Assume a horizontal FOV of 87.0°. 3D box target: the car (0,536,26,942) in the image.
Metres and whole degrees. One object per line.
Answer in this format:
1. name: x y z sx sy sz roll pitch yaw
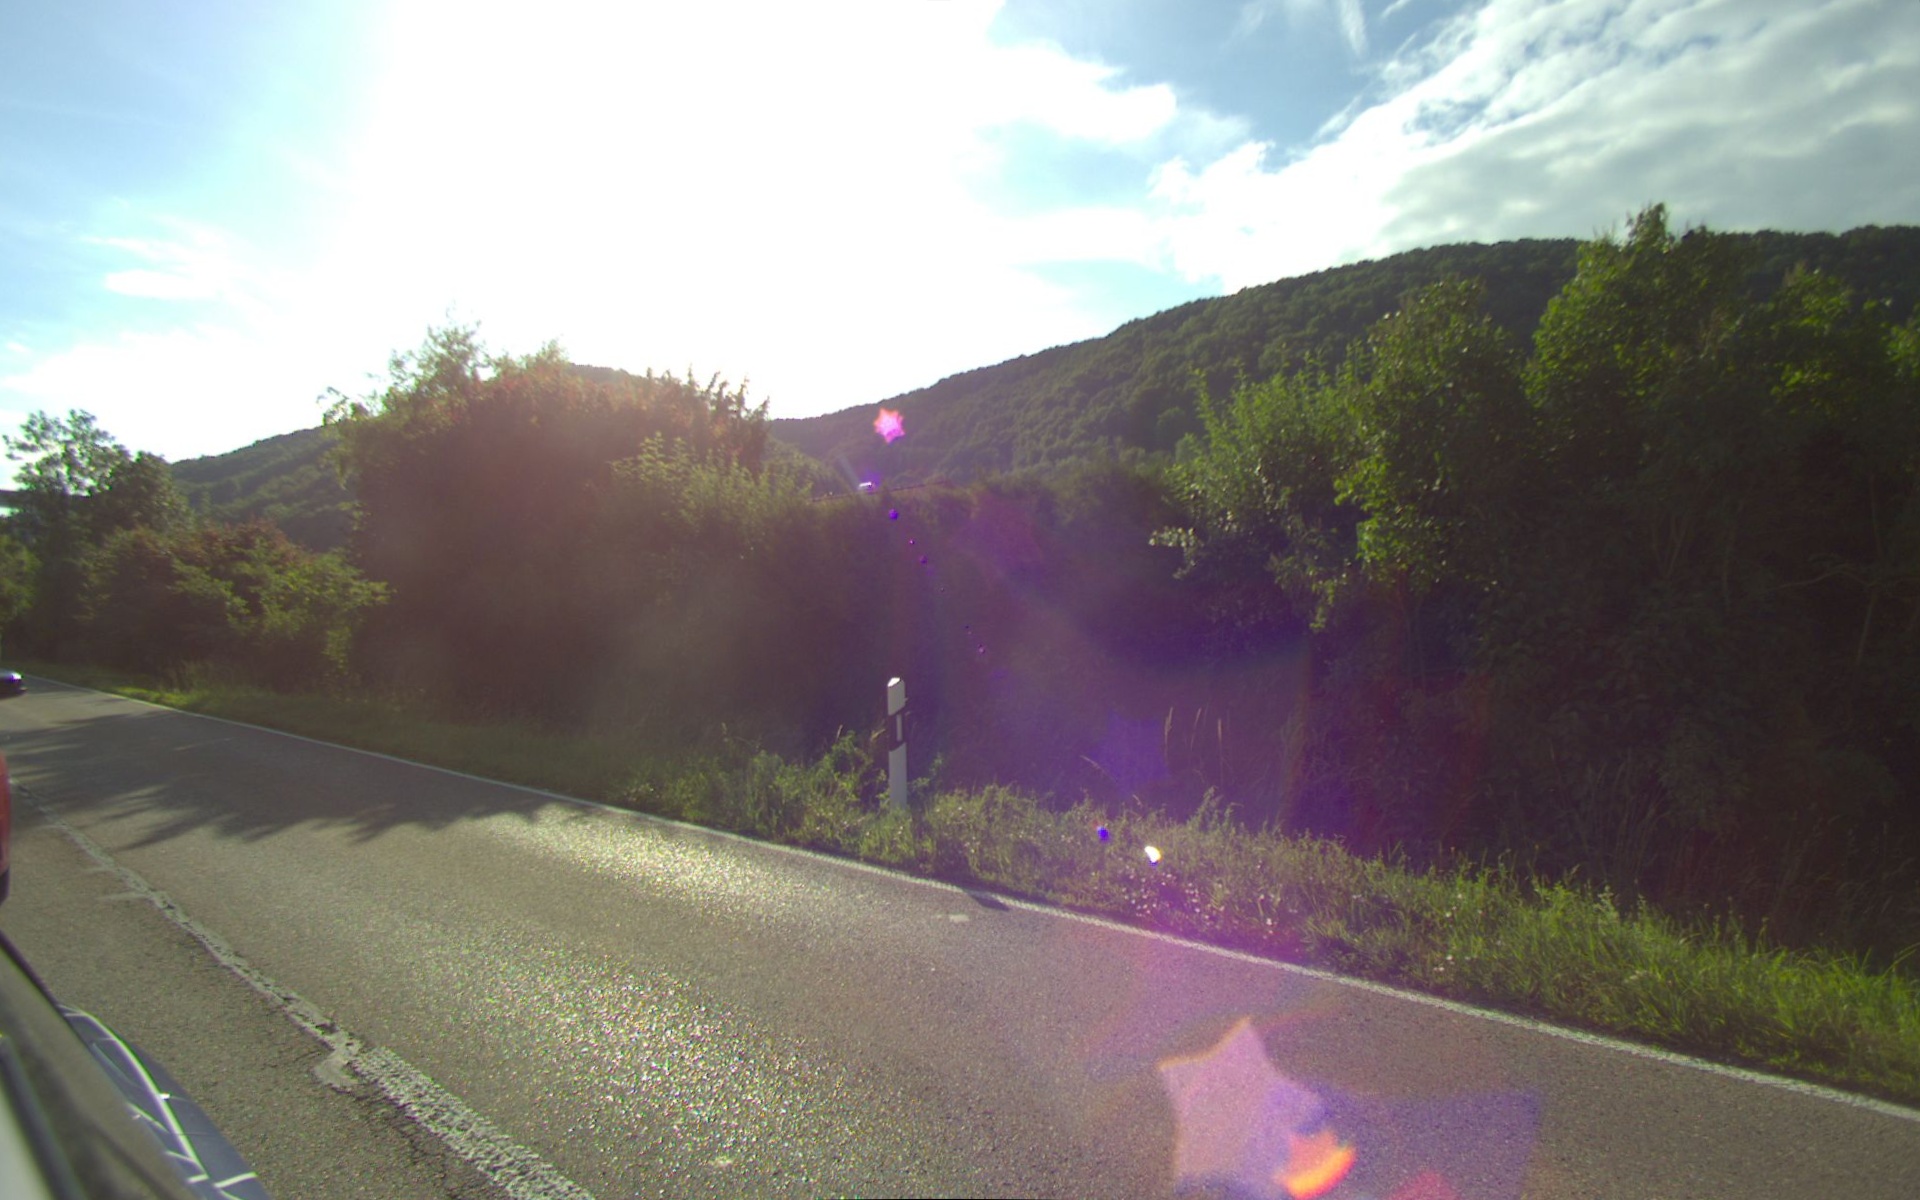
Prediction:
1. car: -6.451 0.680 5.356 4.286 1.823 1.731 -1 1 41
